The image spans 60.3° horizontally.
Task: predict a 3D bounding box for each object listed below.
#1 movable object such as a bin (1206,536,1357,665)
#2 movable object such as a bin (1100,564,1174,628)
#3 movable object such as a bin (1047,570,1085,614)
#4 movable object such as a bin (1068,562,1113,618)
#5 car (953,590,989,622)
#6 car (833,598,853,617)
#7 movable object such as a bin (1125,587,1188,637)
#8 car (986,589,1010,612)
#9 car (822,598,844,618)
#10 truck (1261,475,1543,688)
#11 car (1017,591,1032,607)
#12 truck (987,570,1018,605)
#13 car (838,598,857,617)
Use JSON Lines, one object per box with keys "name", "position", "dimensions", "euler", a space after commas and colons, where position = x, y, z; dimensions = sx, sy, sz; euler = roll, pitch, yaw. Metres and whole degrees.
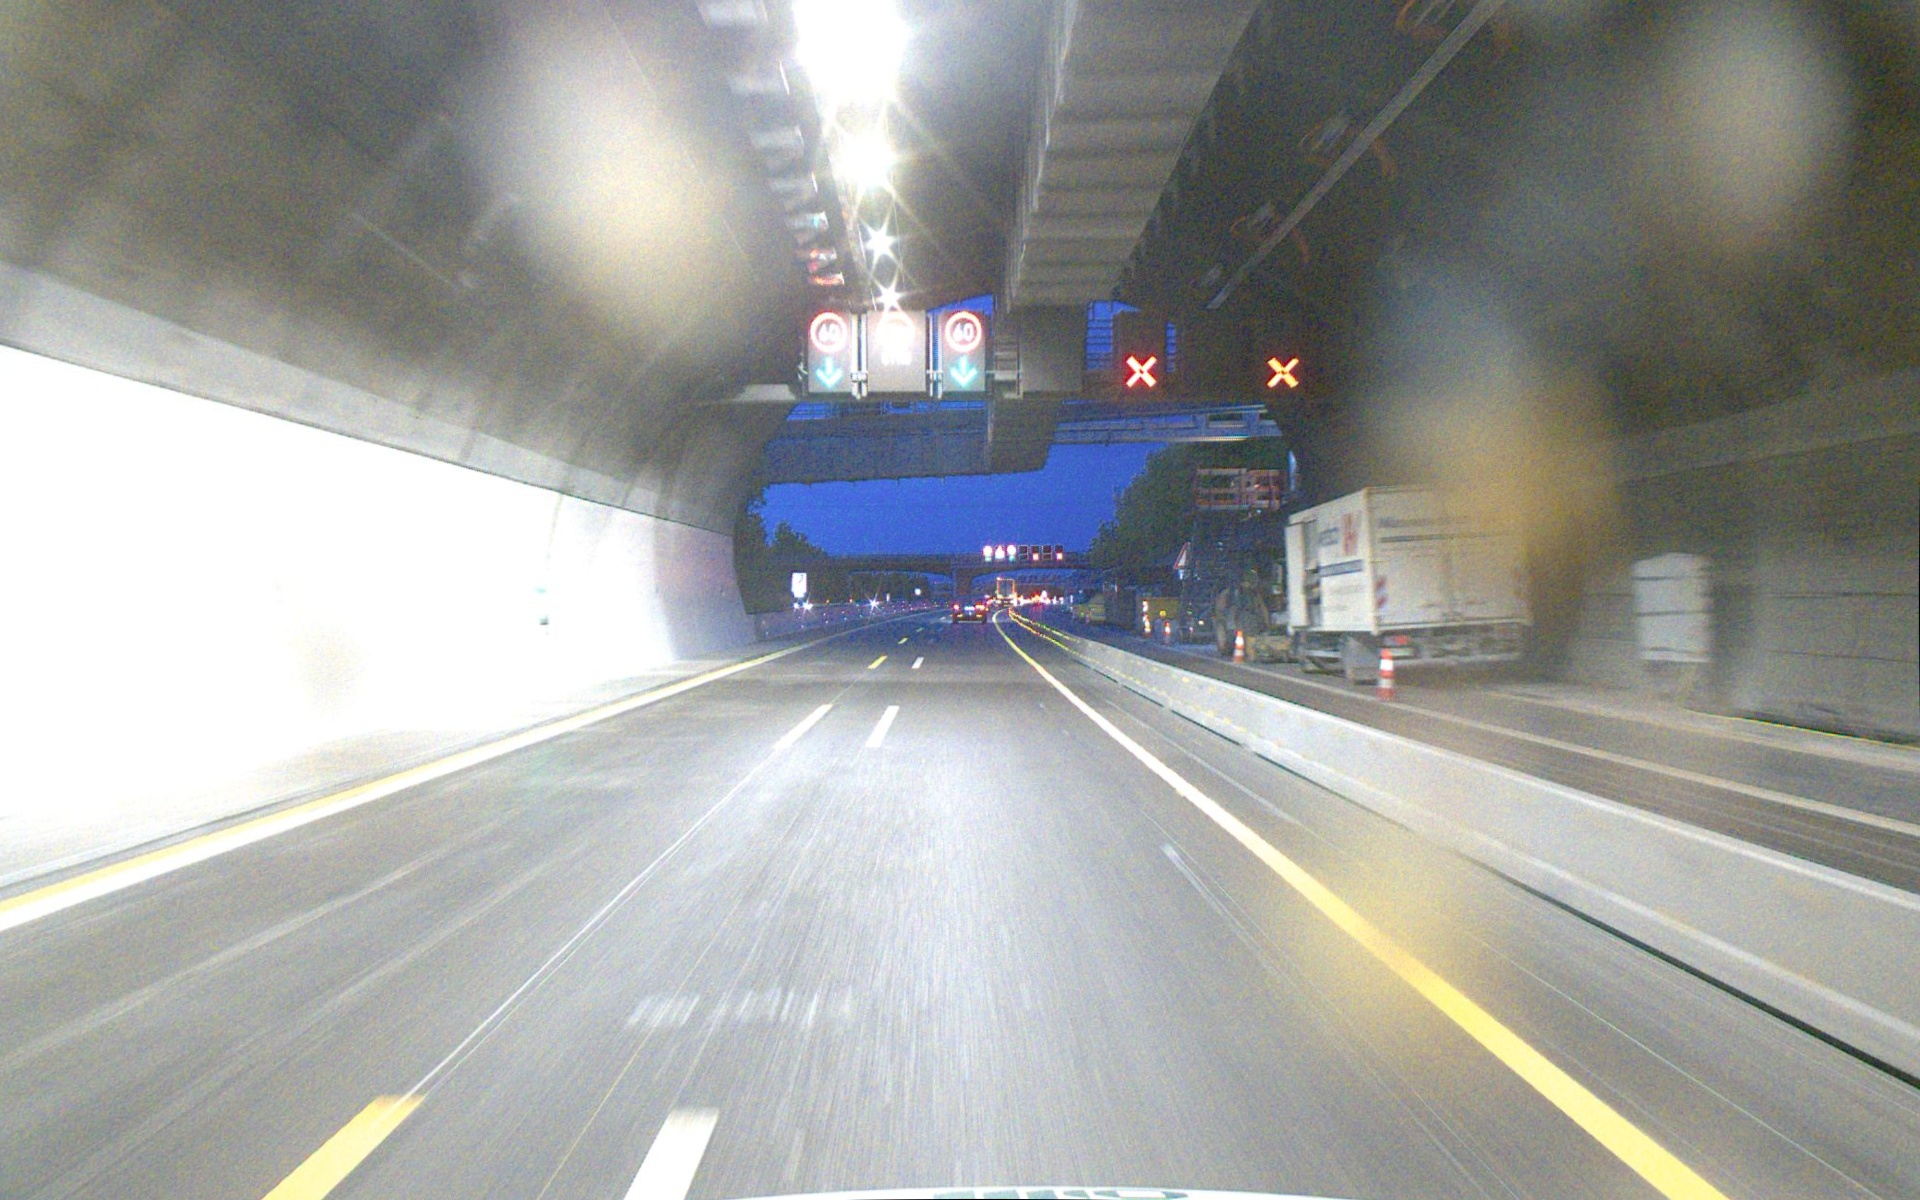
{"name": "movable object such as a bin", "position": [7.664, 0.011, 40.248], "dimensions": [2.192, 2.843, 7.231], "euler": [0, 0, -1]}
{"name": "movable object such as a bin", "position": [8.056, -0.167, 75.929], "dimensions": [2.681, 2.802, 7.049], "euler": [0, 0, 0]}
{"name": "movable object such as a bin", "position": [8.567, -0.621, 134.379], "dimensions": [2.681, 3.516, 6.946], "euler": [0, 0, 0]}
{"name": "movable object such as a bin", "position": [9.031, -0.686, 115.334], "dimensions": [2.681, 3.743, 6.333], "euler": [0, 0, 0]}
{"name": "car", "position": [0.556, 0.322, 87.952], "dimensions": [1.849, 1.635, 3.999], "euler": [0, 0, 0]}
{"name": "car", "position": [-12.727, 0.850, 180.406], "dimensions": [1.953, 2.049, 3.999], "euler": [0, 0, -1]}
{"name": "movable object such as a bin", "position": [7.475, 0.436, 63.217], "dimensions": [1.938, 1.847, 3.836], "euler": [0, 0, -1]}
{"name": "car", "position": [3.475, 0.060, 149.291], "dimensions": [1.951, 2.049, 4.002], "euler": [1, 0, 4]}
{"name": "car", "position": [-13.040, 0.824, 170.307], "dimensions": [1.953, 2.049, 3.999], "euler": [0, 0, -1]}
{"name": "truck", "position": [7.716, -0.281, 30.209], "dimensions": [2.833, 3.329, 8.399], "euler": [0, 0, -1]}
{"name": "car", "position": [8.722, -0.161, 223.469], "dimensions": [1.952, 2.049, 4.000], "euler": [0, 0, 0]}
{"name": "truck", "position": [6.210, -1.756, 243.566], "dimensions": [4.452, 5.074, 9.599], "euler": [0, 0, 0]}
{"name": "car", "position": [-12.701, 0.866, 187.330], "dimensions": [1.953, 2.049, 3.999], "euler": [0, 0, -1]}
